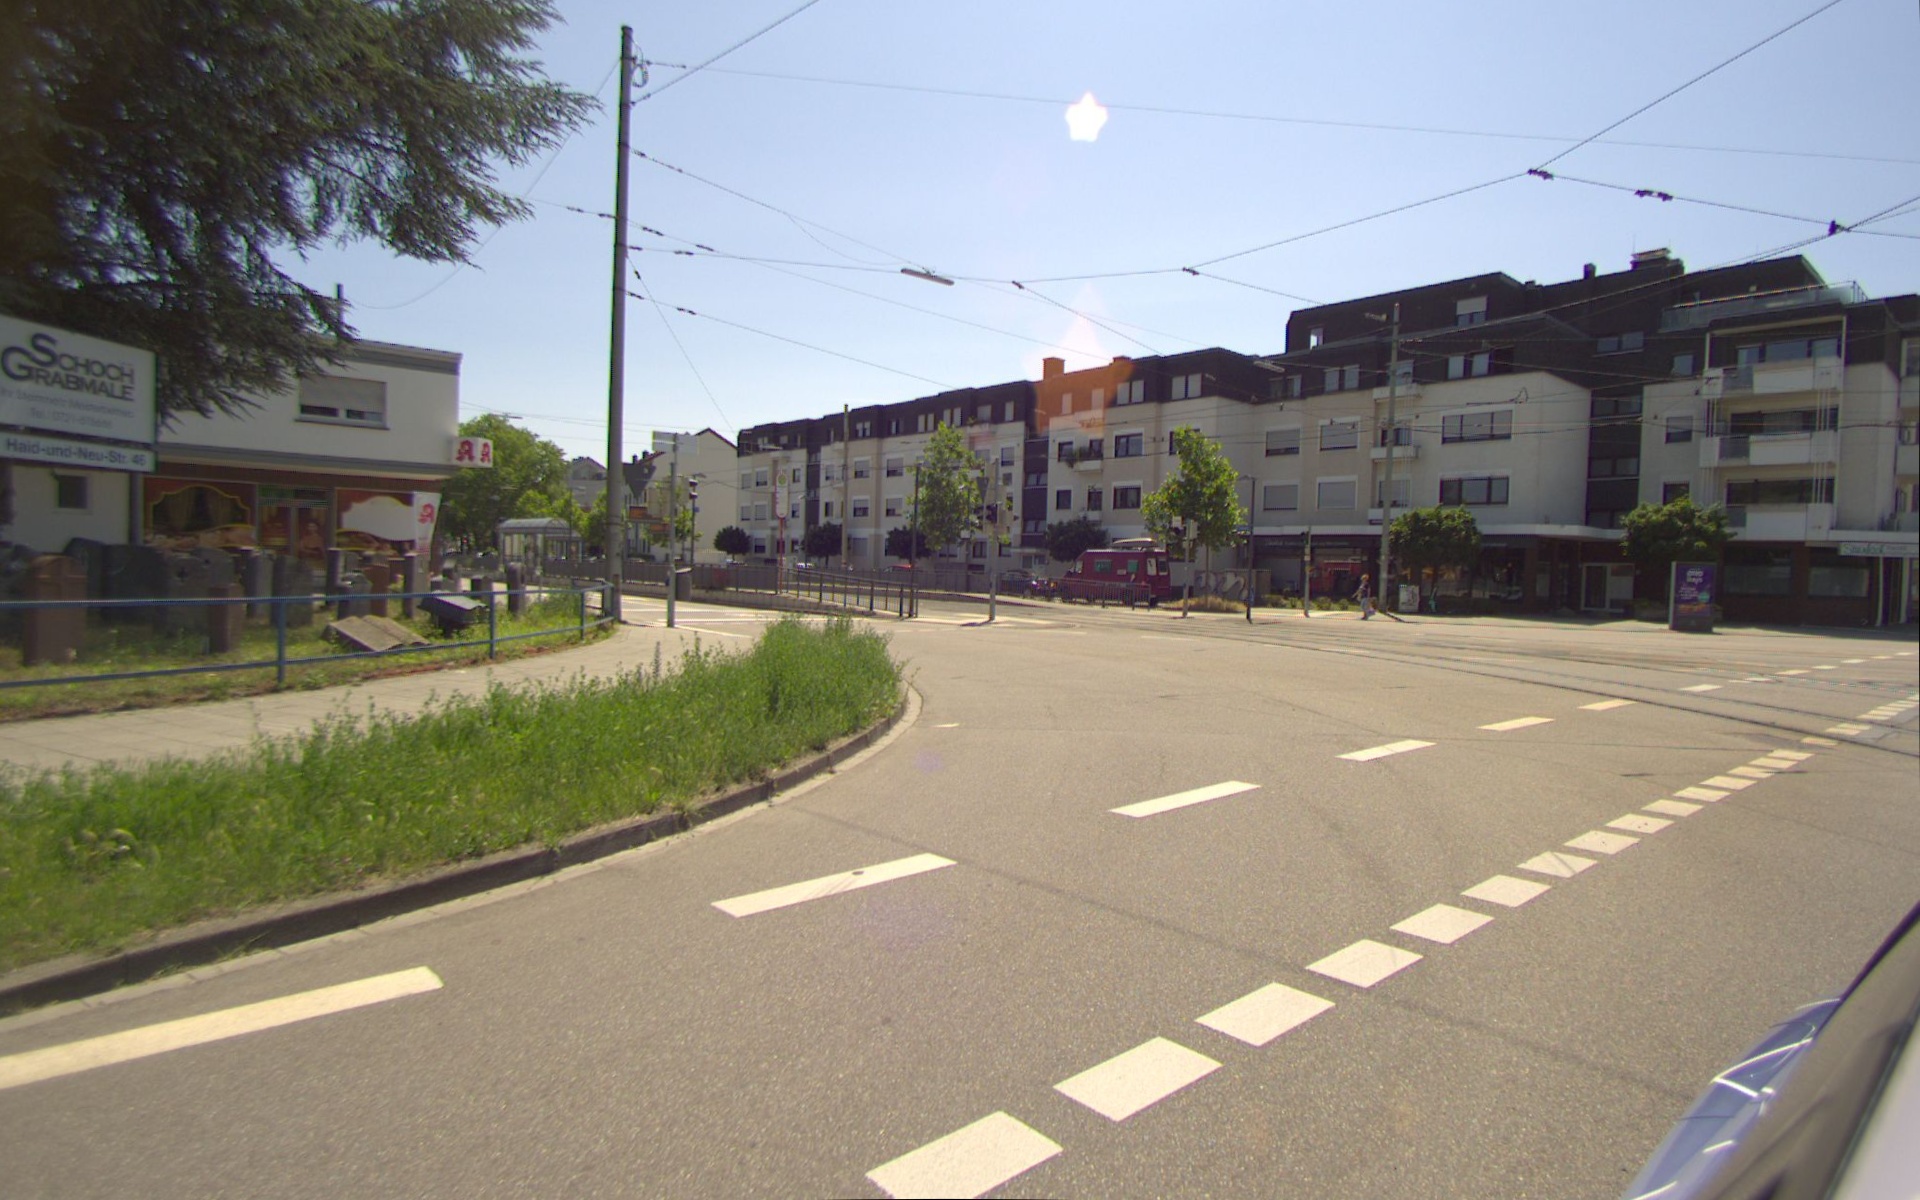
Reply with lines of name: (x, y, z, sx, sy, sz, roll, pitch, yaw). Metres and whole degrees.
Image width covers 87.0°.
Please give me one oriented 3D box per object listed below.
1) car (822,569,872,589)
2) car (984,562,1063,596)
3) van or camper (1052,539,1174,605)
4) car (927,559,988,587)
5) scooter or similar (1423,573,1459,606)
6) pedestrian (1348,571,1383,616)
car: (-6.962, -1.302, 62.054, 1.425, 1.094, 3.360, 0, 2, -39)
car: (3.098, -1.059, 49.931, 1.650, 1.566, 3.801, 0, 2, -41)
van or camper: (6.790, -1.282, 45.425, 2.170, 2.800, 5.233, 0, 2, -41)
car: (-0.164, -1.616, 60.117, 1.625, 1.629, 3.647, -1, 2, -41)
scooter or similar: (18.741, -0.418, 39.445, 1.242, 1.227, 0.391, 2, 2, 24)
pedestrian: (14.785, -0.256, 36.867, 0.810, 1.603, 0.830, 0, 2, -30)
